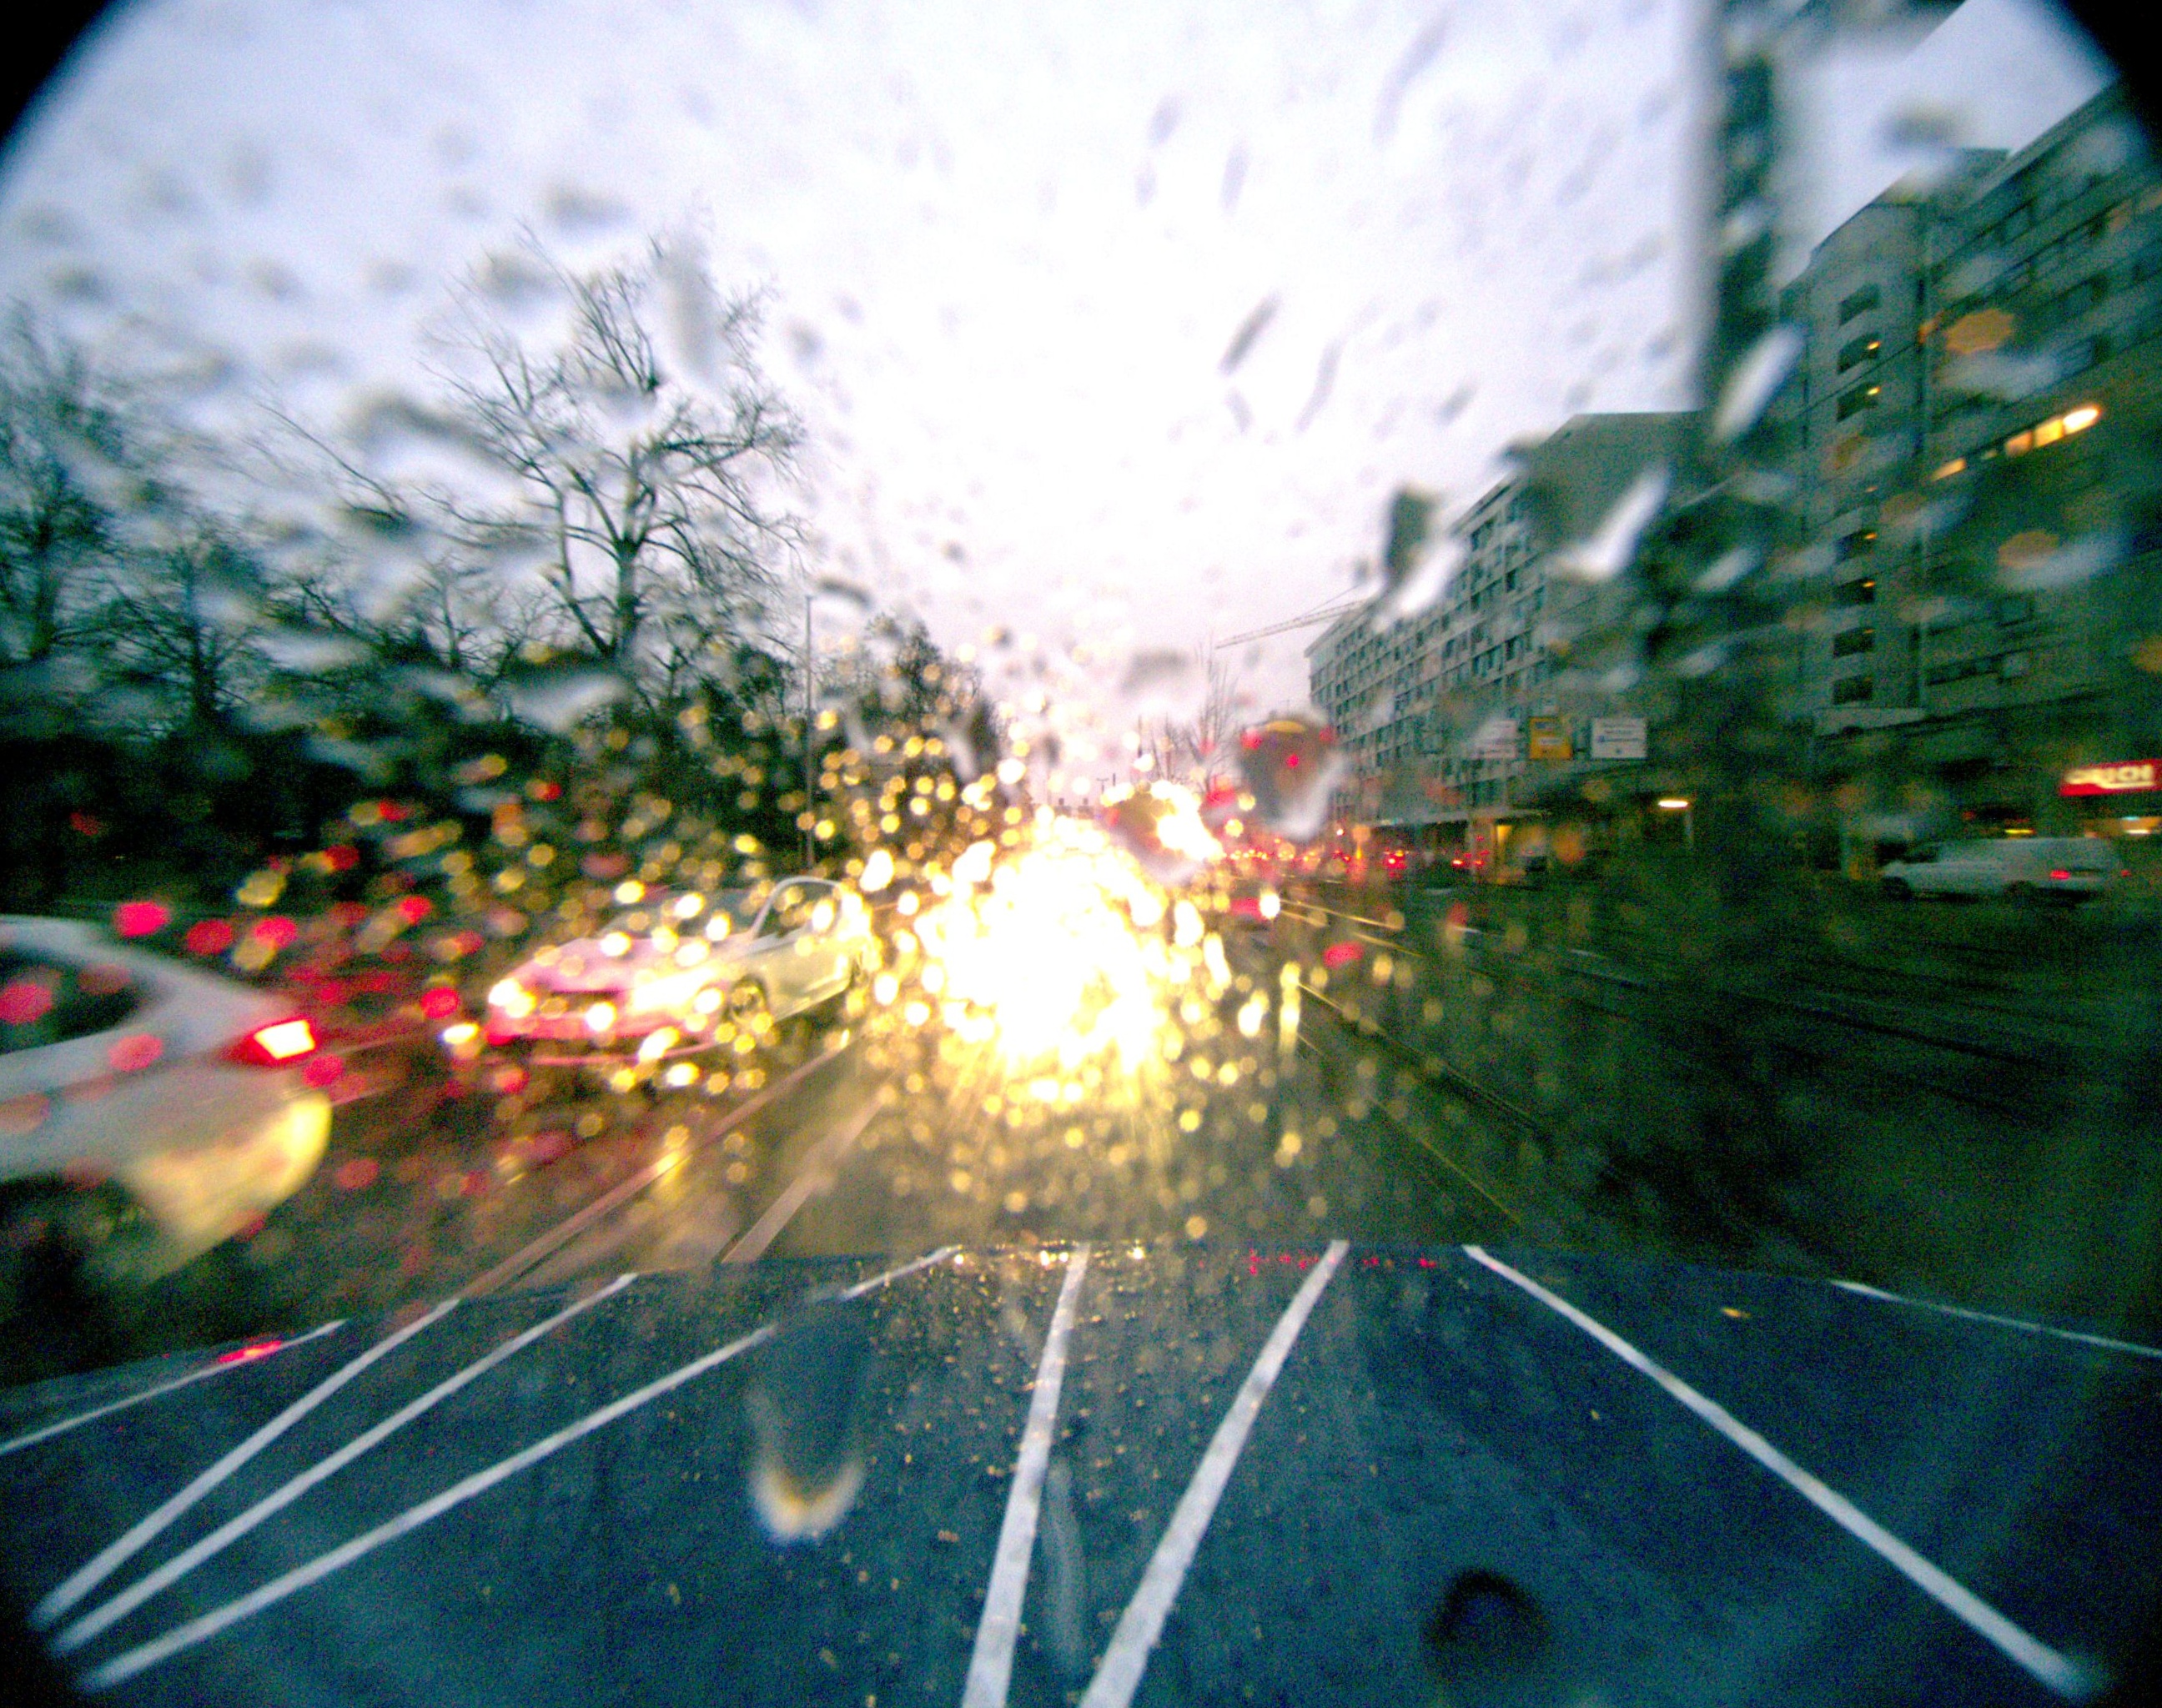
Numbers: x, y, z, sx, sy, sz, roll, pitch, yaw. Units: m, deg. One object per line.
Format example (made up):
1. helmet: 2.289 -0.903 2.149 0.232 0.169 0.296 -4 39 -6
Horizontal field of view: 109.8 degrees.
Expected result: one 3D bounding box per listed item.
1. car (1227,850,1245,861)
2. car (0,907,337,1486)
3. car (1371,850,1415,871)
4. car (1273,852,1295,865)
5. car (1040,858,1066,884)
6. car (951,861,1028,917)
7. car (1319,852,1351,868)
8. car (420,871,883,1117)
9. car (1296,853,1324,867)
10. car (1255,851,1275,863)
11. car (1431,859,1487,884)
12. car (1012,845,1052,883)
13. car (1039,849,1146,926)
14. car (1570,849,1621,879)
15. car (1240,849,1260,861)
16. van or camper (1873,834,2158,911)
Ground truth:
1. car: 21.049 0.237 103.469 1.596 1.440 3.872 -1 1 -1
2. car: -3.959 0.989 0.475 1.791 1.493 4.969 -2 0 5
3. car: 24.102 0.472 58.778 1.754 1.503 3.889 -1 1 -1
4. car: 24.526 0.489 92.032 1.596 1.440 3.872 -1 1 -1
5. car: -1.941 1.168 53.554 1.679 1.670 3.864 -1 1 1
6. car: -2.809 1.042 24.231 1.880 1.490 4.076 -1 1 1
7. car: 24.188 0.581 72.476 1.754 1.440 3.872 -1 1 -1
8. car: -3.391 0.982 7.068 1.778 1.453 4.041 -1 1 4
9. car: 24.362 0.611 80.967 1.754 1.440 3.872 -1 1 -1
10. car: 23.864 0.324 98.777 1.596 1.440 3.872 -1 1 -1
11. car: 23.870 1.060 48.145 1.677 1.440 3.766 -1 1 -1
12. car: -2.380 0.446 37.851 1.679 1.739 3.864 -1 1 1
13. car: 0.259 0.672 17.518 2.160 1.490 4.007 -1 1 1
14. car: 29.854 0.562 44.038 3.785 1.609 1.676 -2 1 -44
15. car: 21.162 0.138 95.387 1.596 1.440 3.872 -1 1 -1
16. van or camper: 28.631 0.489 23.723 1.998 2.085 5.654 -1 0 1
